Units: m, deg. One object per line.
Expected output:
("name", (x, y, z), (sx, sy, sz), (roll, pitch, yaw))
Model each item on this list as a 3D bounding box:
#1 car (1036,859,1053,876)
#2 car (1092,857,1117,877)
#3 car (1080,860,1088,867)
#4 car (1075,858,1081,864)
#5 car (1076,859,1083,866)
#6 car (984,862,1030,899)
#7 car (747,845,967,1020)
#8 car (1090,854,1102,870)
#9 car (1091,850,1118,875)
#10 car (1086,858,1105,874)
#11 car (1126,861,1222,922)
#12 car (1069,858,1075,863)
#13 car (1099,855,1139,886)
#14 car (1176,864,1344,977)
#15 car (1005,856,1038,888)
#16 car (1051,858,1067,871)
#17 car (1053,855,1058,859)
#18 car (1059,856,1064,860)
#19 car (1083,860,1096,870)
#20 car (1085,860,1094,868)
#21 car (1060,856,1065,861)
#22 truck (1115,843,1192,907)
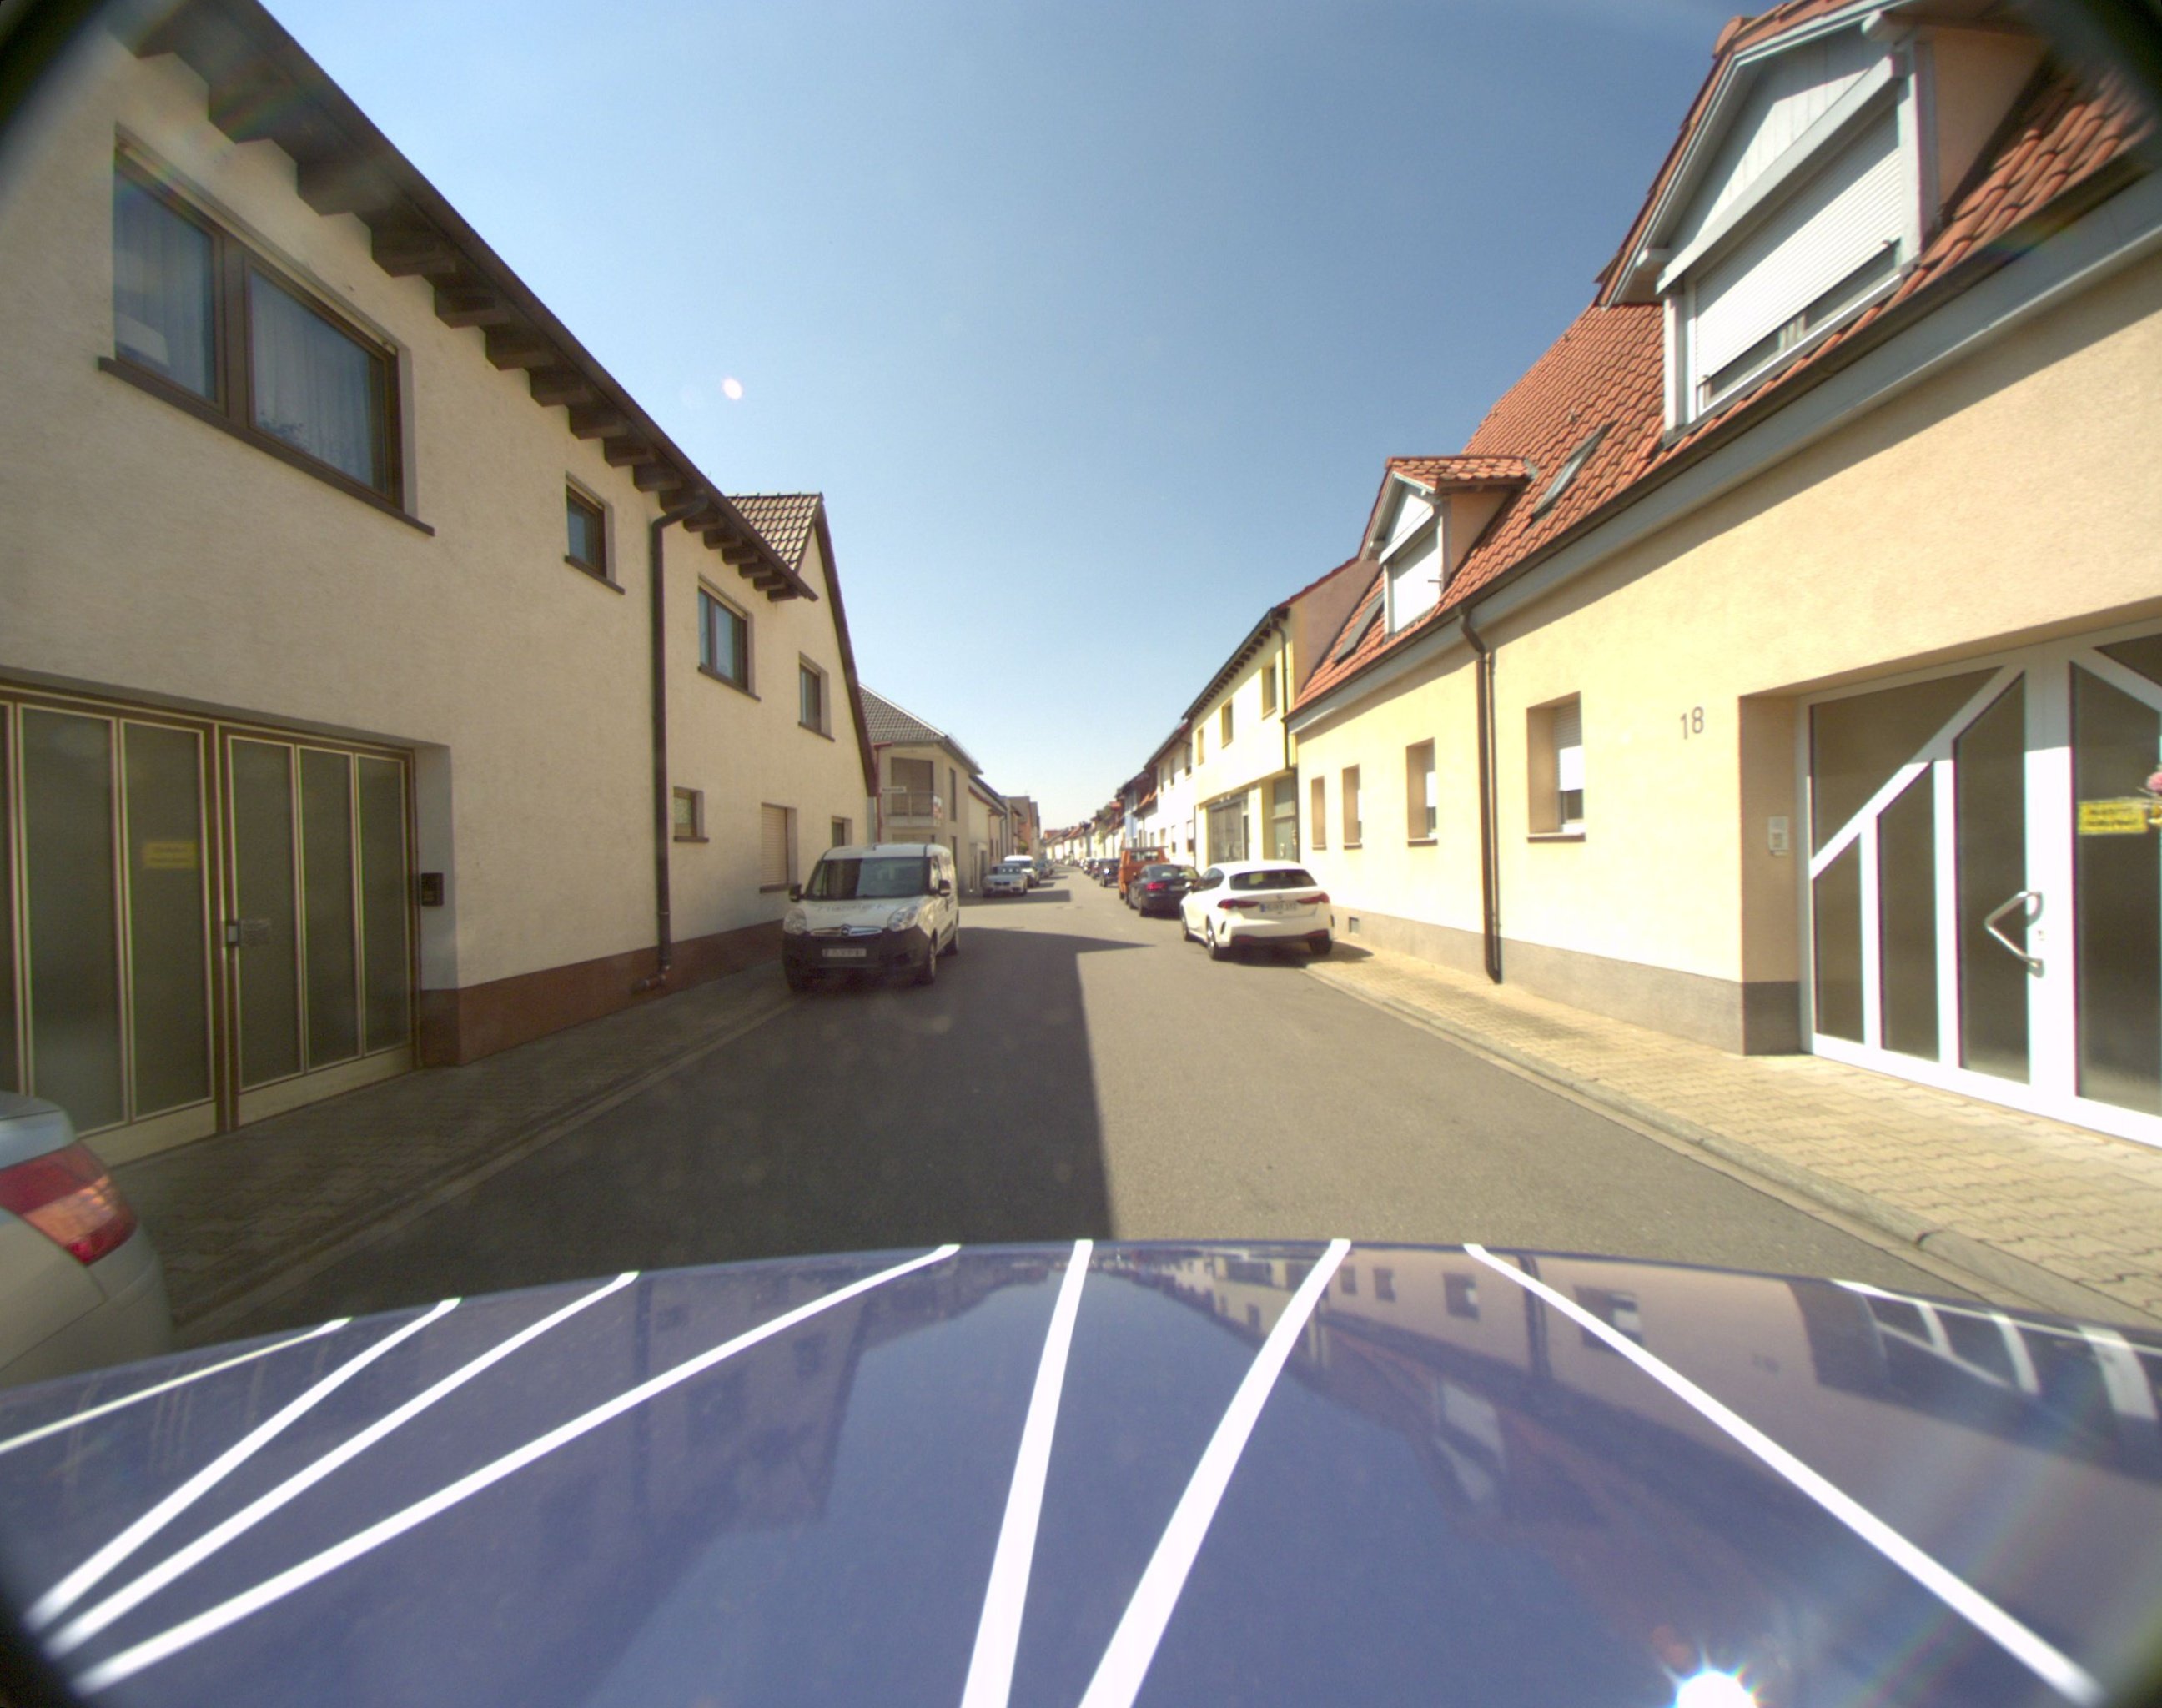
("car", (-3.329, 1.217, 69.804), (1.522, 1.417, 3.863), (-1, 0, -2))
("car", (1.814, 0.997, 59.220), (1.724, 1.493, 4.214), (-1, 0, -1))
("car", (0.476, 1.572, 123.660), (1.295, 1.177, 2.963), (-1, 0, -1))
("car", (-0.657, 1.493, 161.558), (1.295, 1.177, 2.963), (-1, 0, -1))
("car", (-0.268, 1.529, 139.054), (1.295, 1.177, 2.963), (-1, 0, -1))
("car", (-3.182, 1.114, 33.370), (1.638, 1.360, 3.927), (-3, 1, -1))
("car", (-2.810, 0.841, 10.754), (1.815, 1.814, 4.848), (-3, 1, -3))
("car", (1.761, 0.903, 90.514), (1.295, 1.820, 2.963), (-1, 0, -1))
("car", (2.036, 0.713, 67.372), (1.999, 2.002, 3.997), (-1, 1, -4))
("car", (1.431, 1.154, 76.287), (1.677, 1.565, 4.108), (-1, 0, -1))
("car", (2.439, 0.942, 21.150), (1.927, 1.386, 4.630), (2, 0, -2))
("car", (-2.099, 1.435, 178.299), (1.295, 1.177, 2.963), (-1, 0, -1))
("car", (2.035, 0.872, 41.861), (1.849, 1.604, 3.999), (-1, 0, -2))
("car", (2.745, 0.947, 12.608), (1.787, 1.445, 4.215), (-1, 1, 0))
("car", (-3.299, 0.969, 42.755), (1.684, 1.719, 3.786), (-1, 0, -2))
("car", (-2.728, 1.273, 94.086), (1.849, 1.523, 3.548), (-1, 0, -2))
("car", (-8.045, 0.983, 237.721), (1.296, 1.177, 2.961), (-1, 0, -8))
("car", (-5.474, 1.171, 217.399), (1.295, 1.177, 2.963), (-1, 0, -1))
("car", (0.911, 1.227, 82.848), (1.295, 1.070, 2.764), (-1, 0, -1))
("car", (1.285, 1.494, 112.321), (1.295, 1.177, 2.963), (-1, 0, -1))
("car", (-5.087, 1.232, 208.928), (1.295, 1.177, 2.963), (-1, 0, -1))
("truck", (2.418, 0.646, 26.734), (2.188, 2.002, 5.079), (-1, 1, 0))
